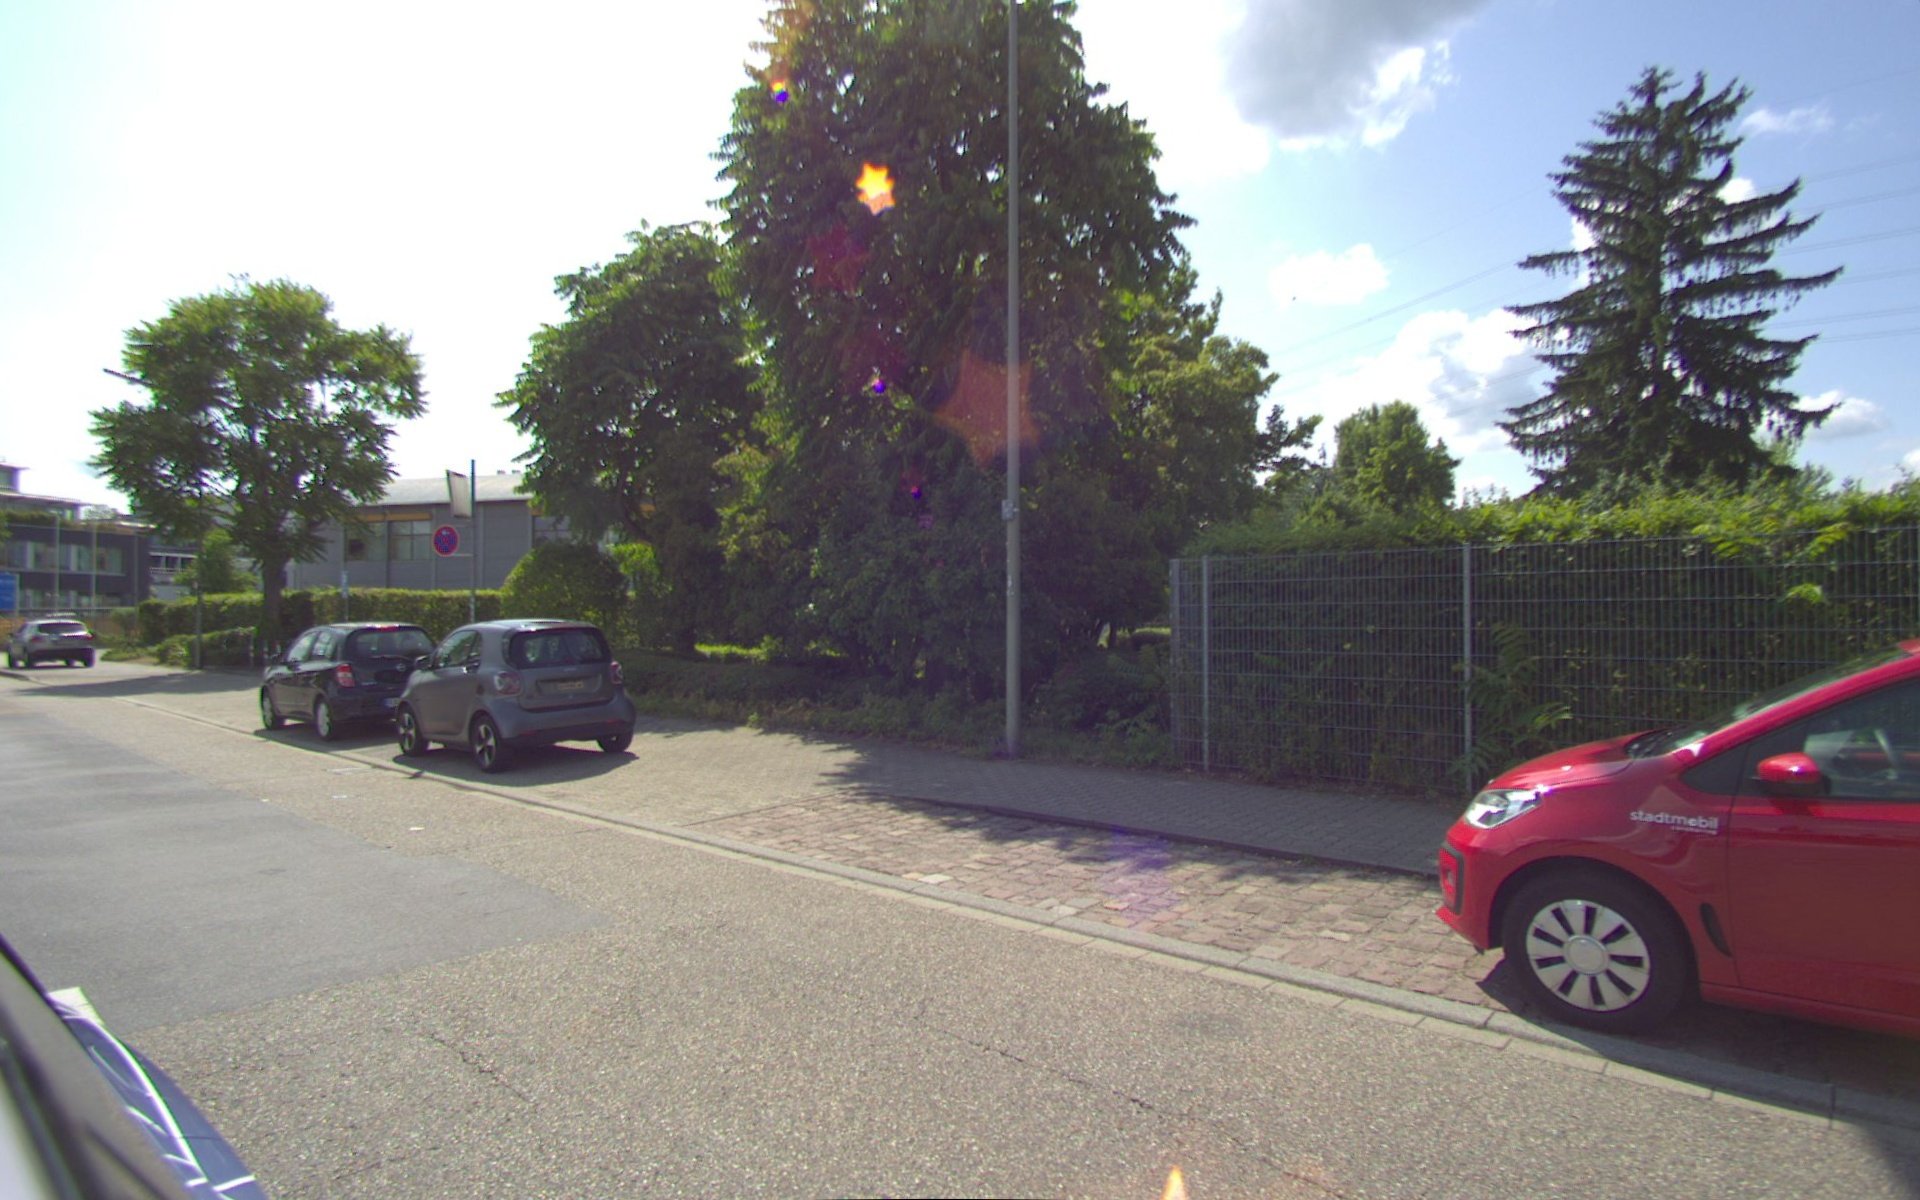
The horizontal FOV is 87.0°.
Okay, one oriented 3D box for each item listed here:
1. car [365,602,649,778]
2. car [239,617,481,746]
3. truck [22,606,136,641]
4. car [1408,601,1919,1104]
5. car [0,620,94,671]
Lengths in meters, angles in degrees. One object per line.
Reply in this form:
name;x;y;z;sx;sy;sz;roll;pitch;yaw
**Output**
car;-5.221;0.906;11.550;3.270;1.657;1.634;-1;1;39
car;-8.736;1.062;14.606;3.998;1.519;1.826;-1;1;41
truck;-71.336;1.917;82.149;2.382;2.678;6.901;-1;-1;15
car;3.706;0.748;3.343;3.743;1.478;1.648;-1;0;42
car;-31.105;1.506;34.361;4.471;1.586;1.741;-1;-1;38
